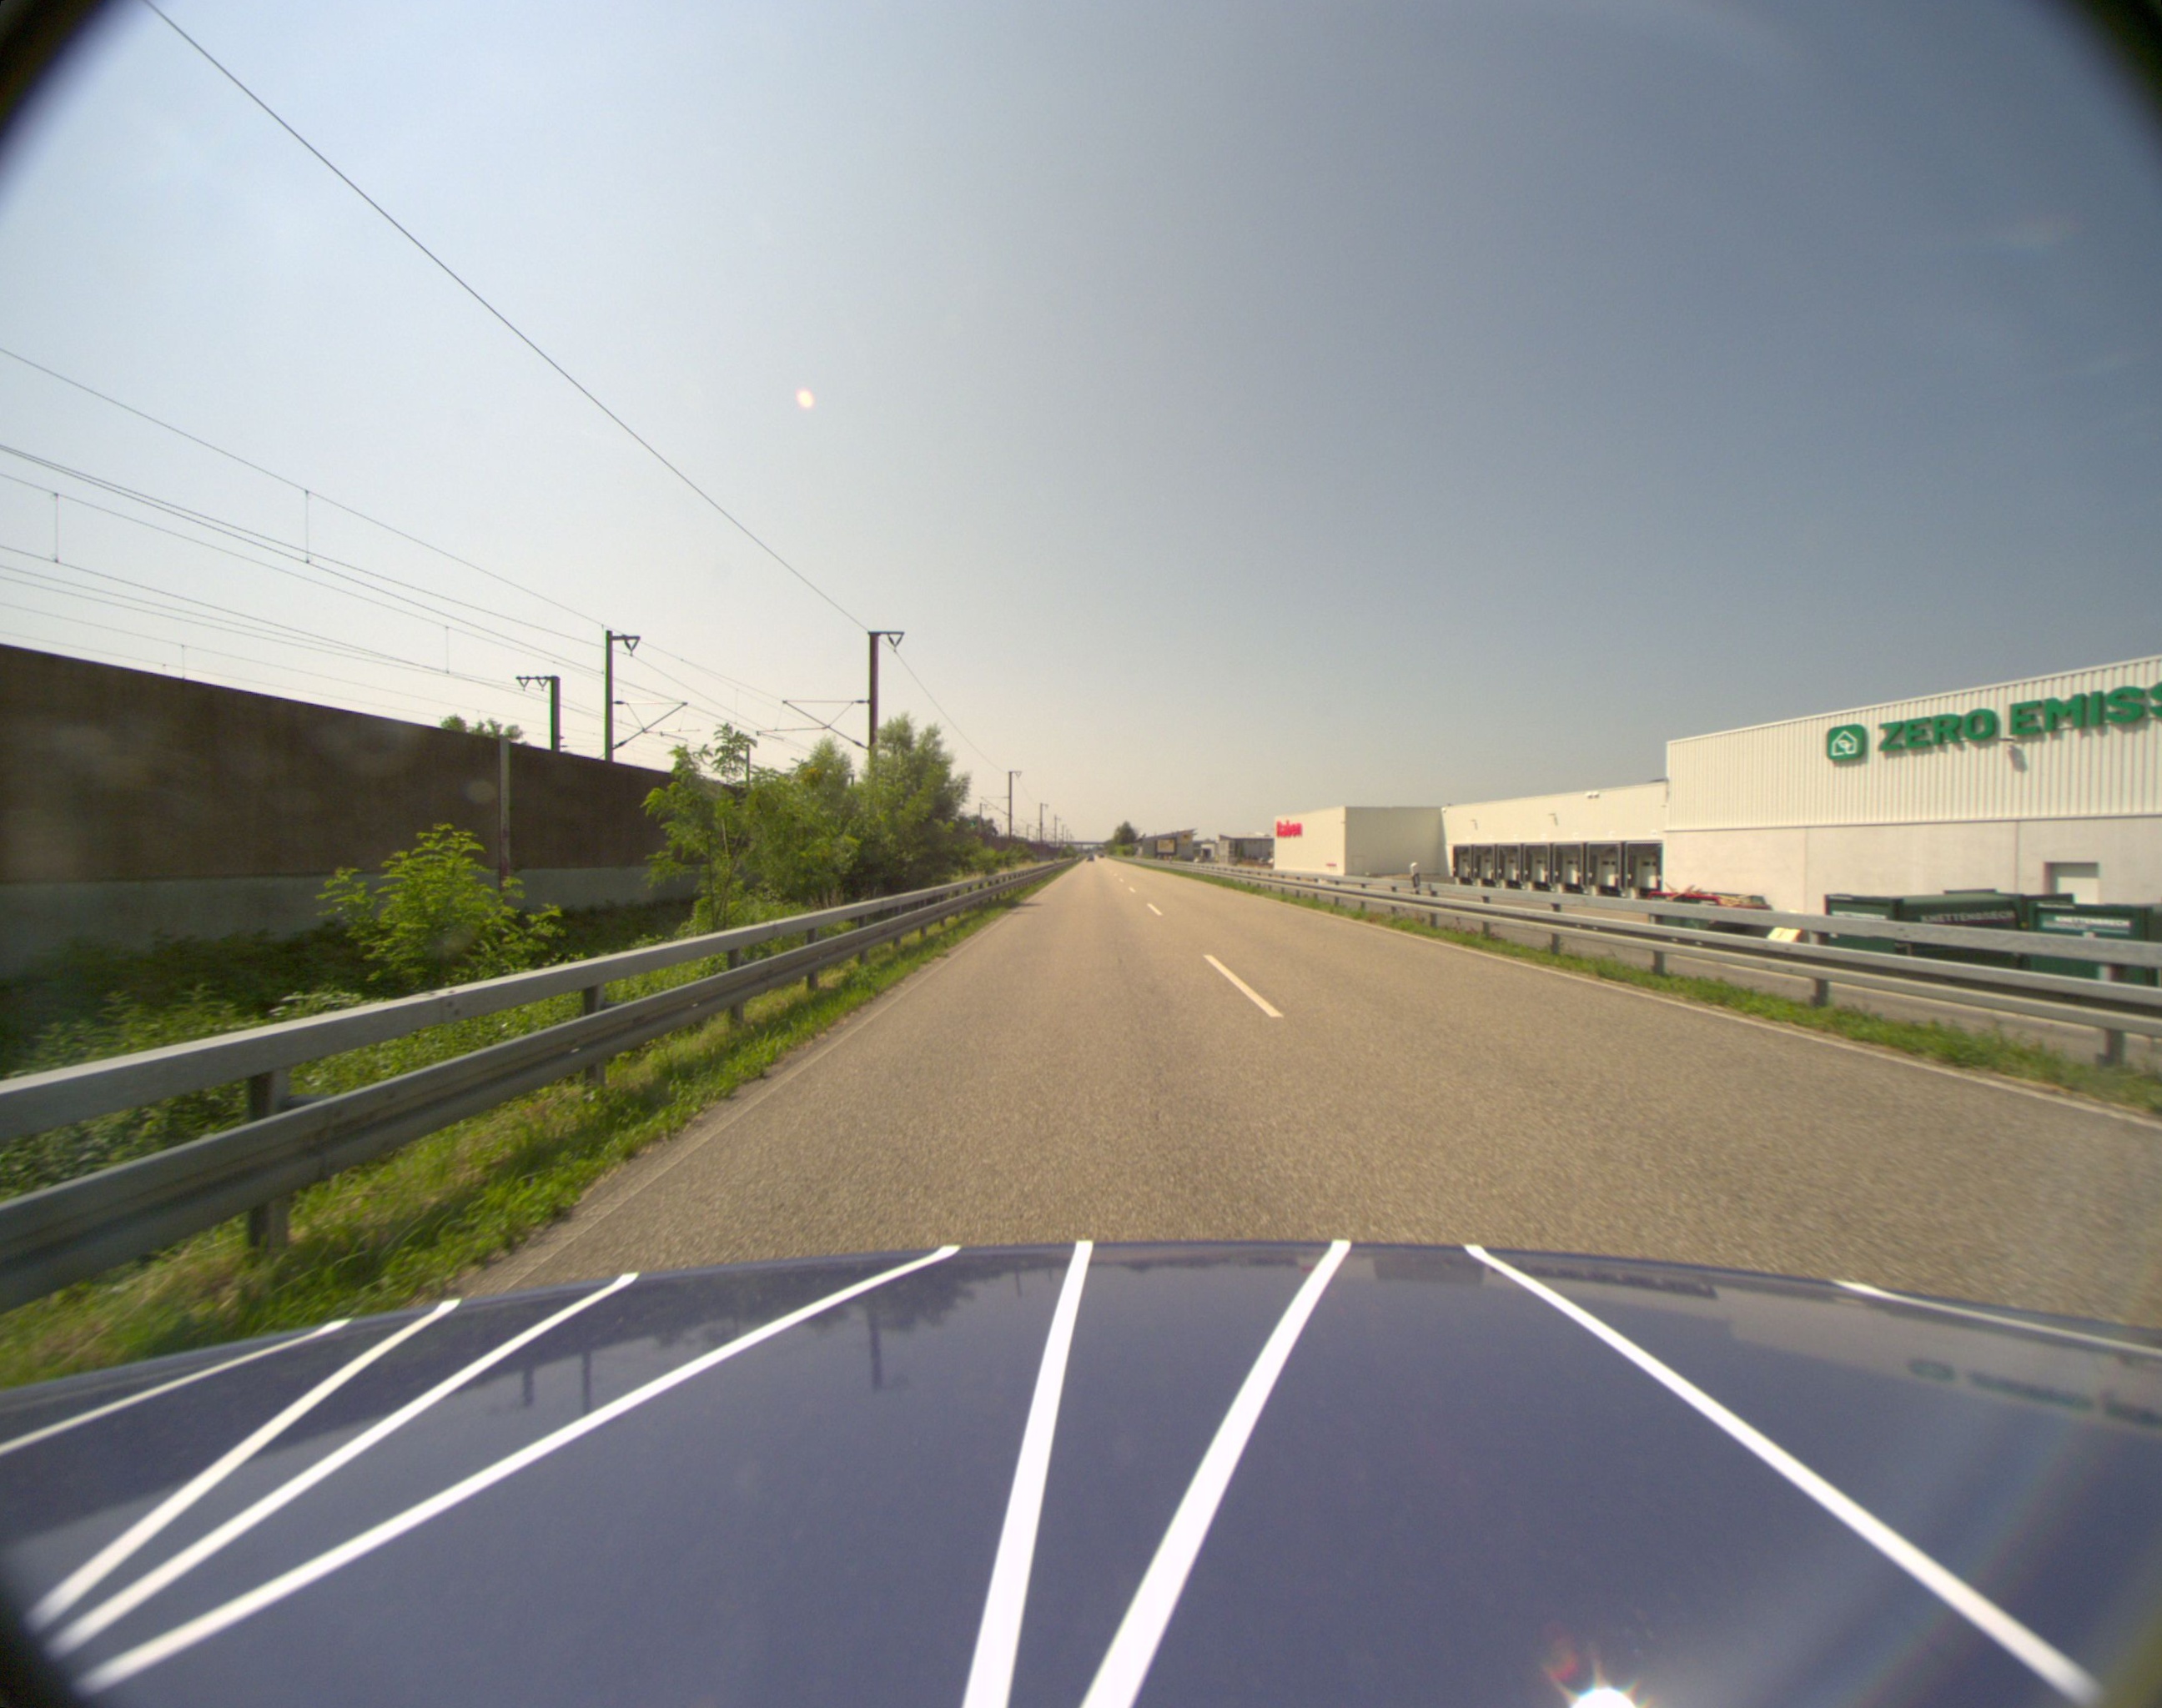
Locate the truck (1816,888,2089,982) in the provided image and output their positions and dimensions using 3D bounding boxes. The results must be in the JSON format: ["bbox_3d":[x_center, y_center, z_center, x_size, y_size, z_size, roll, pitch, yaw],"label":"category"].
[{"bbox_3d":[24.103,2.194,21.199,5.021,2.320,2.232,-1,1,1],"label":"truck"}]

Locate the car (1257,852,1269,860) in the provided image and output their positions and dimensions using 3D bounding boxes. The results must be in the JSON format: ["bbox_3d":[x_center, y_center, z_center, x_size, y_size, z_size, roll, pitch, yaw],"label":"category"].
[{"bbox_3d":[44.680,0.491,186.802,1.999,2.002,3.999,-2,1,0],"label":"car"}]

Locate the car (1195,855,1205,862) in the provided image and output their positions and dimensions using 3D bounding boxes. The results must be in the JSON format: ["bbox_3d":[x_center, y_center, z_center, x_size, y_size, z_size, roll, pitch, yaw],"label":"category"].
[{"bbox_3d":[29.158,1.206,186.196,1.555,1.664,3.311,1,1,-4],"label":"car"}]

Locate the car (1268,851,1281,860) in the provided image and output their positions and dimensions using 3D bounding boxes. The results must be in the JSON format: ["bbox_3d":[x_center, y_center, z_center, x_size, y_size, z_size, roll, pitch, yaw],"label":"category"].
[{"bbox_3d":[47.490,0.422,186.782,1.999,2.002,3.999,-3,1,0],"label":"car"}]

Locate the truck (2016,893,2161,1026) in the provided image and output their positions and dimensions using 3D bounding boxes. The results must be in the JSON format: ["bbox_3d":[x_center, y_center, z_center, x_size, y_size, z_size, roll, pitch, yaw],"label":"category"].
[{"bbox_3d":[24.934,2.260,17.188,5.059,2.523,2.272,-1,1,-4],"label":"truck"}]
